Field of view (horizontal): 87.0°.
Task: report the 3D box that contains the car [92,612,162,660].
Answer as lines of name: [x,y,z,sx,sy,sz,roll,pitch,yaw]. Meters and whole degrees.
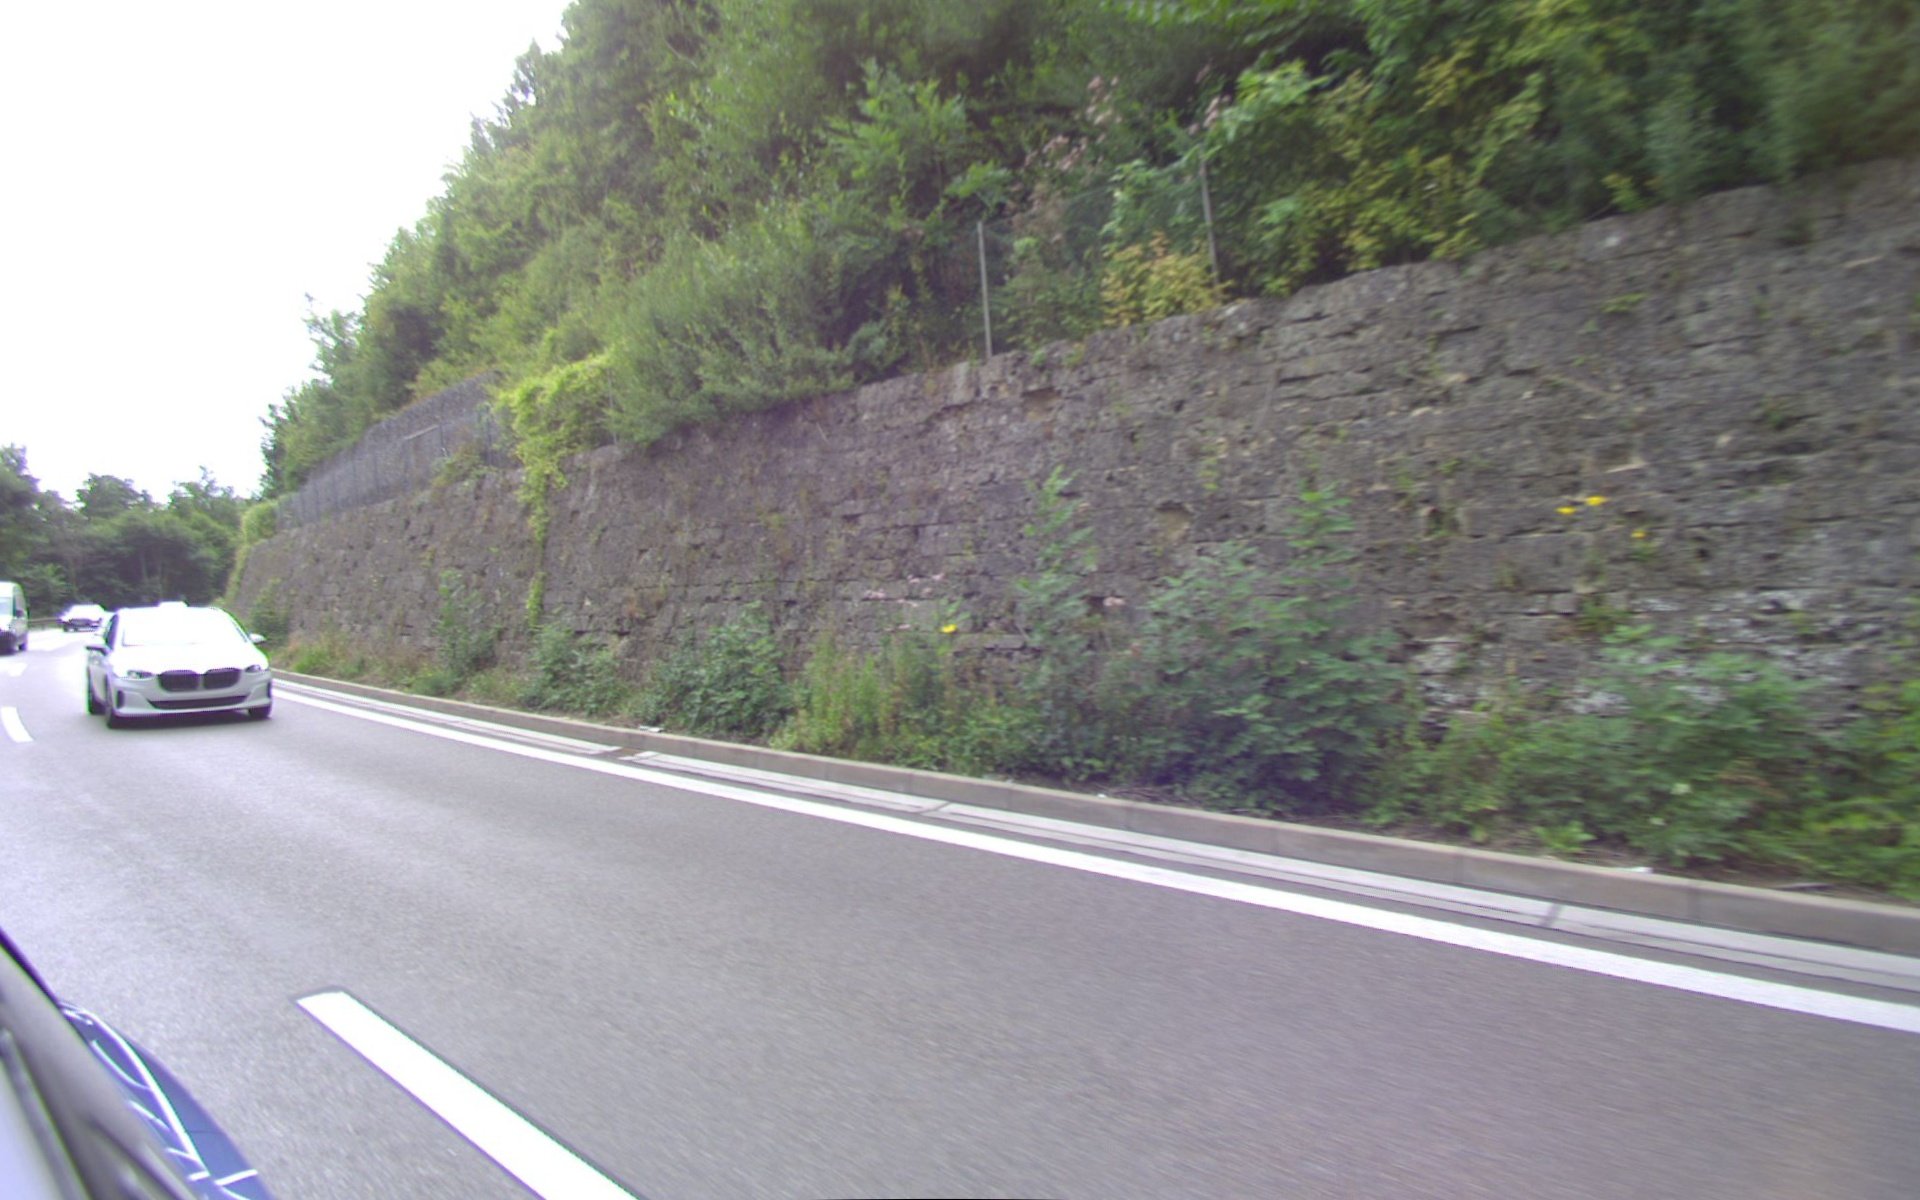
car: [-29.144,1.207,35.390,1.796,1.567,4.006,0,-1,-40]

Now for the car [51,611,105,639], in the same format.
car: [-52.737,1.468,60.572,1.793,1.567,4.012,0,0,-32]

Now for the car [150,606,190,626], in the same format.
car: [-64.231,1.271,82.360,1.793,1.567,4.013,-1,0,-27]

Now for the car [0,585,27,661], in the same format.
car: [-35.128,0.814,36.299,2.067,2.582,5.930,0,-1,-39]

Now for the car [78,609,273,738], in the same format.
car: [-11.411,0.944,14.616,1.797,1.567,4.003,0,-1,-44]
